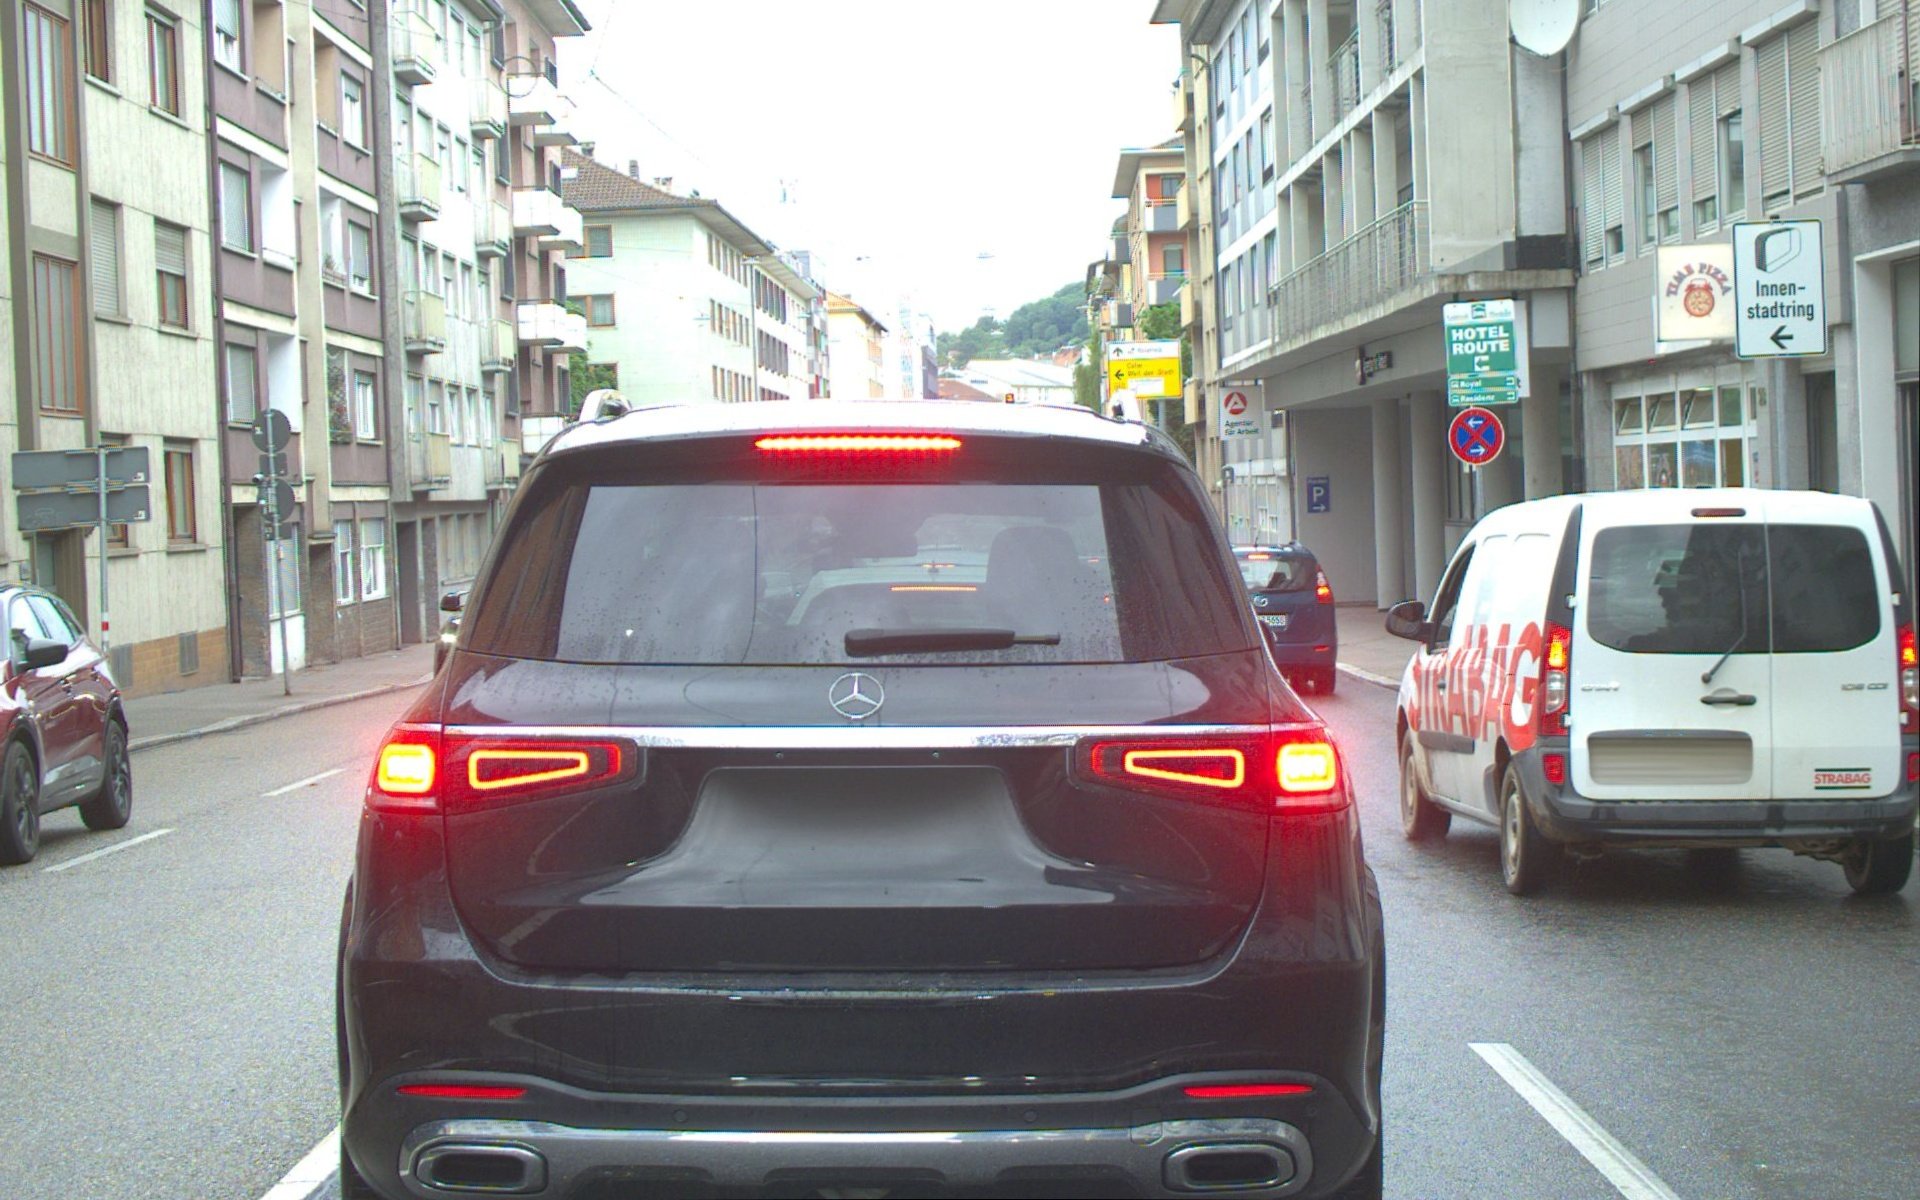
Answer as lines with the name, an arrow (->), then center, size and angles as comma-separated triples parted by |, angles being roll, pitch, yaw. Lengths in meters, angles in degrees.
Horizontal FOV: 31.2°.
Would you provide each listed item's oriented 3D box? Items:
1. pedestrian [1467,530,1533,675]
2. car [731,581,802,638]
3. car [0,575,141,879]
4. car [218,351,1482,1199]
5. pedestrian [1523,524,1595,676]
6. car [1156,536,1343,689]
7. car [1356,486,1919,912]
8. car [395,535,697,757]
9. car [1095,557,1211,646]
pedestrian -> 5.735, 0.023, 36.529 | 0.506, 1.495, 0.562 | -4, 1, -1
car -> -5.224, 0.236, 93.005 | 1.767, 1.341, 3.889 | -5, 1, -3
car -> -6.151, 0.710, 20.249 | 1.797, 1.579, 4.317 | -4, 1, -4
car -> -0.219, 0.481, 7.568 | 2.025, 1.799, 4.000 | 1, 1, -1
pedestrian -> 6.366, -0.007, 36.569 | 0.560, 1.573, 0.526 | -4, 1, 0
car -> 3.143, 0.099, 38.027 | 1.808, 1.600, 4.212 | 0, 1, 1
car -> 3.216, 0.376, 16.652 | 1.940, 1.769, 4.747 | 0, 1, -1
car -> -3.609, 0.342, 30.872 | 2.126, 1.715, 4.818 | -3, 1, -1
car -> 3.236, -0.002, 58.363 | 1.621, 1.425, 4.312 | 1, 1, -1
